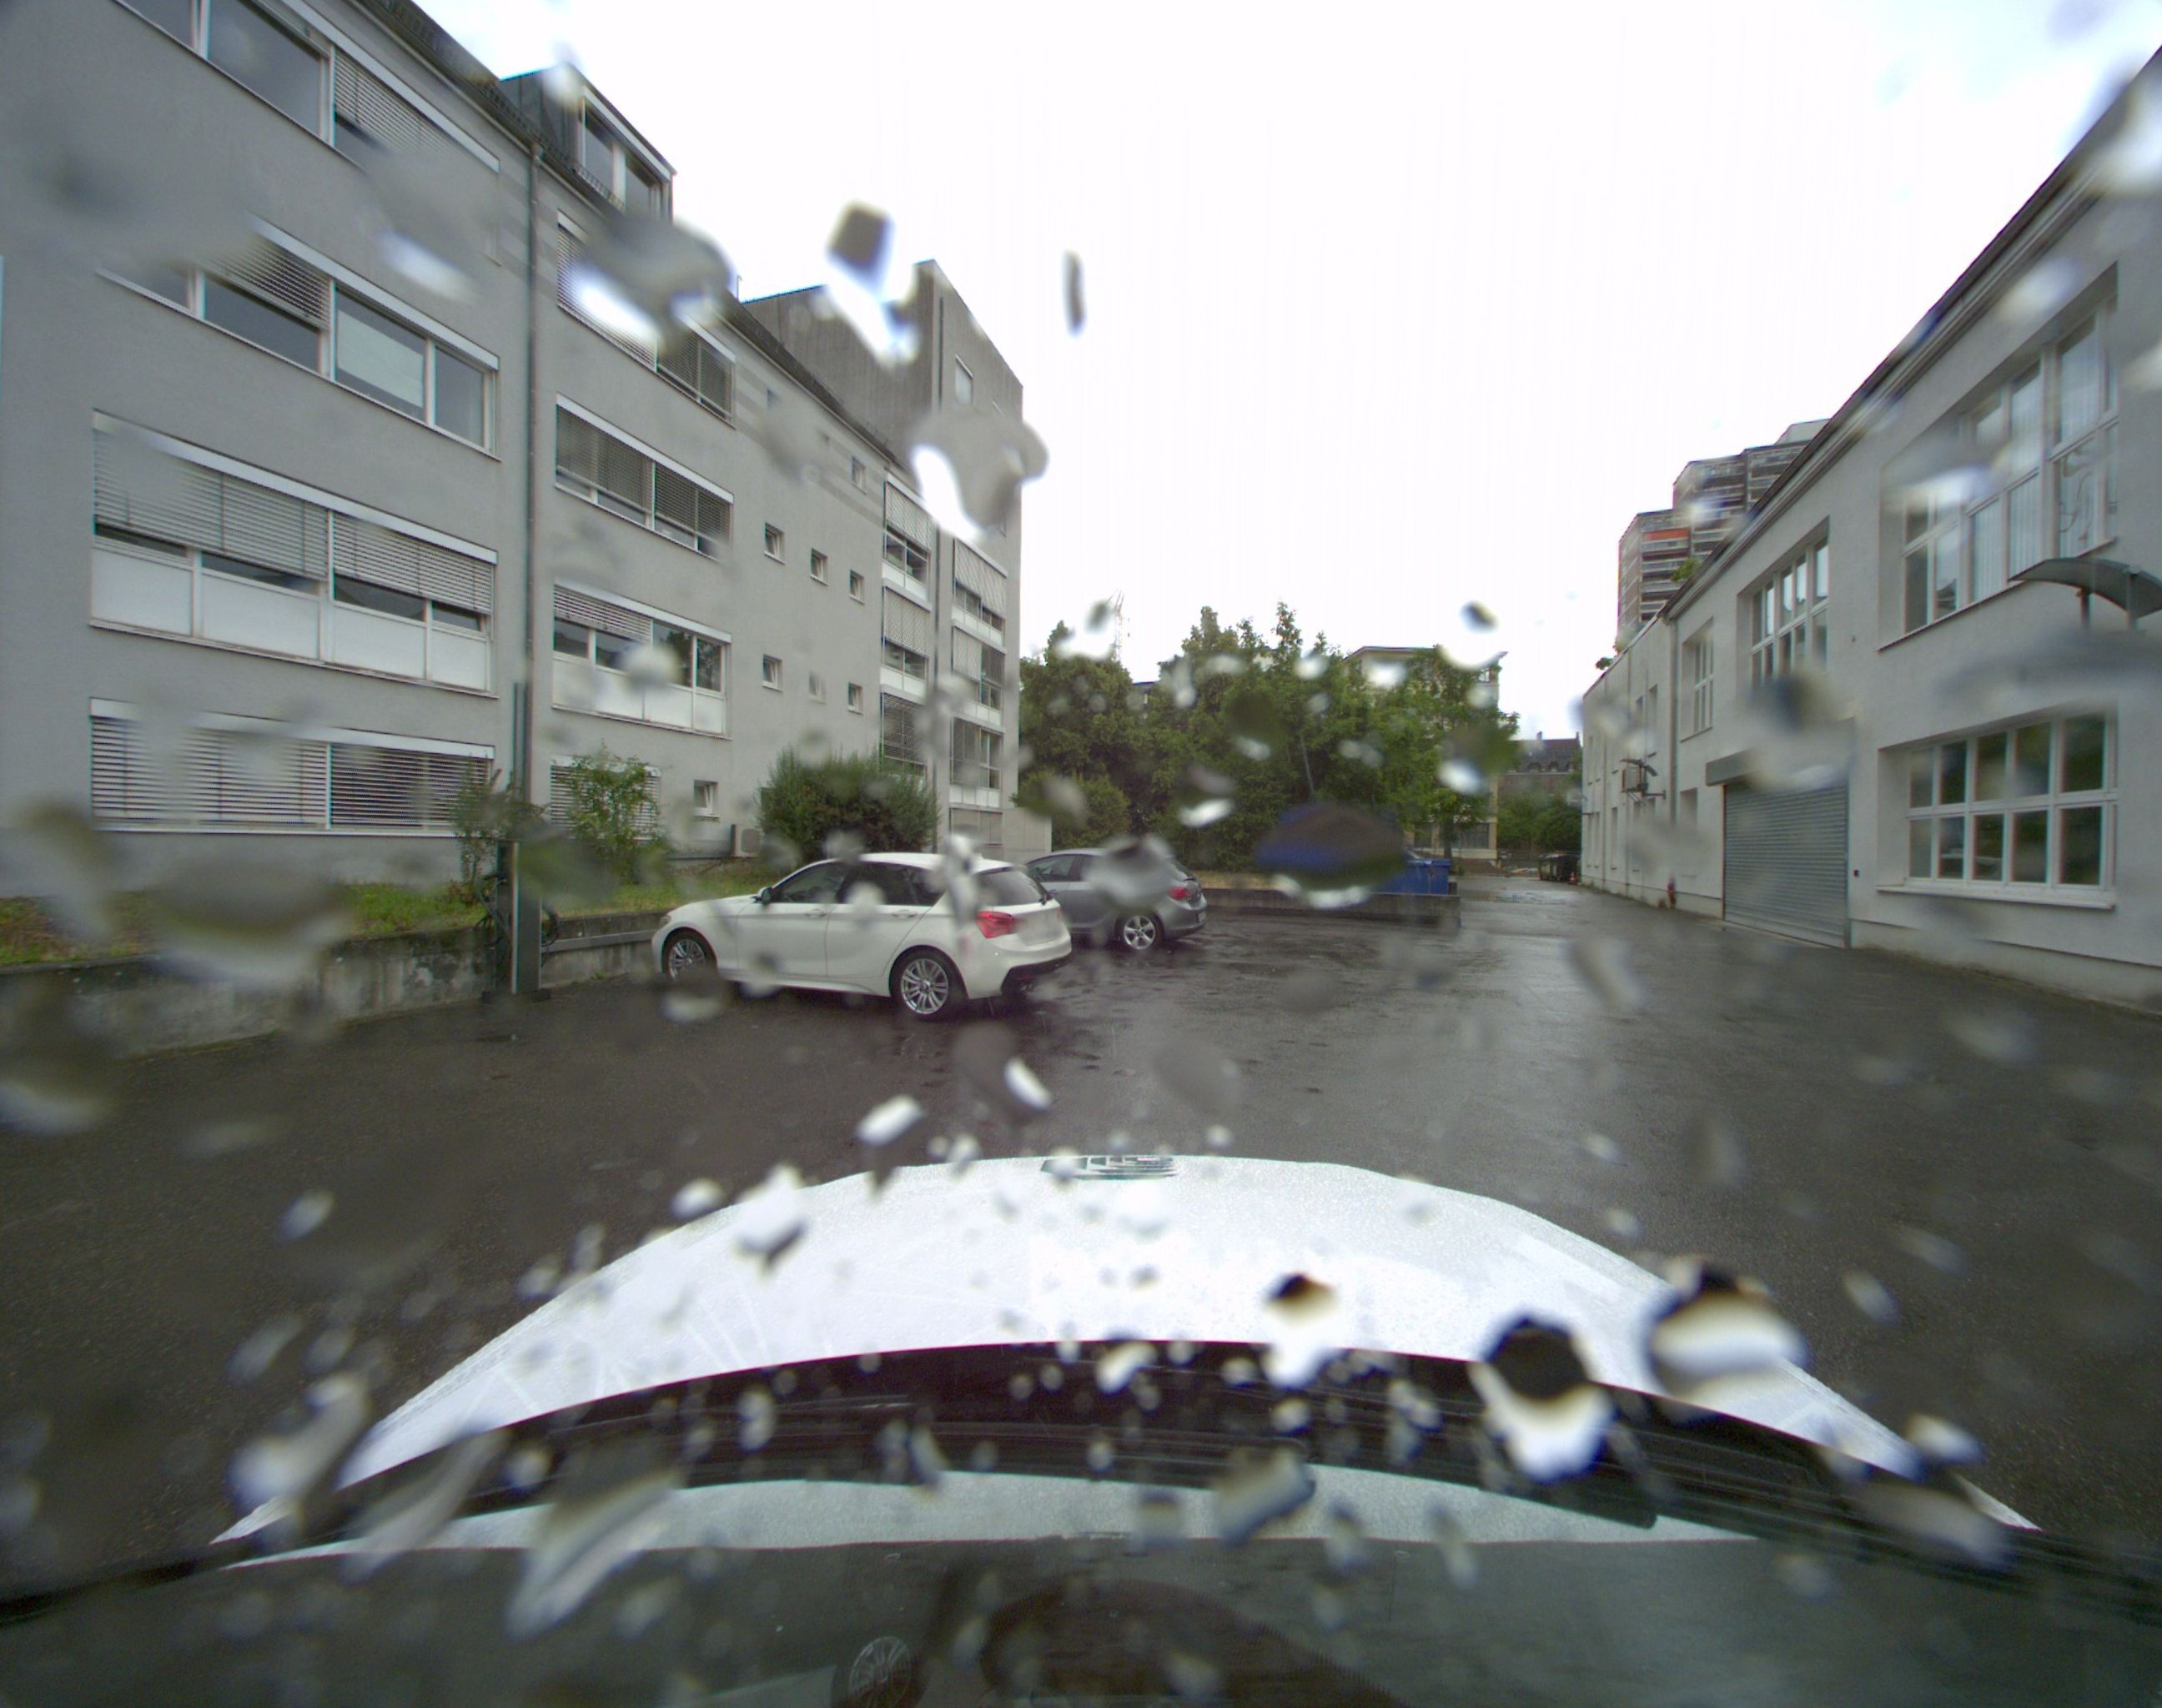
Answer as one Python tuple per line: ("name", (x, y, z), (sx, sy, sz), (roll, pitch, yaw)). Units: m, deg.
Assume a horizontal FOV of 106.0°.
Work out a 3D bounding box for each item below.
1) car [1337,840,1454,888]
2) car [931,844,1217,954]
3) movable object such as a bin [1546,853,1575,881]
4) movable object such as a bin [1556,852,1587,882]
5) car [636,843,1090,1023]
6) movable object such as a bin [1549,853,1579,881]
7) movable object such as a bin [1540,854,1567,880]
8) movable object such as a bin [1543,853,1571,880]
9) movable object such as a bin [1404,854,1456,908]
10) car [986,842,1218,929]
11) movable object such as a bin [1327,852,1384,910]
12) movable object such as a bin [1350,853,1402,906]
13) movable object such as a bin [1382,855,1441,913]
("car", (14.065, 0.419, 36.428), (4.736, 2.013, 2.012), (0, 0, 26))
("car", (-0.083, 0.612, 12.910), (4.131, 1.483, 1.831), (1, 1, 19))
("movable object such as a bin", (26.330, 0.697, 44.712), (1.204, 1.468, 1.242), (1, -2, 23))
("movable object such as a bin", (25.051, 0.668, 41.621), (1.204, 1.437, 1.242), (1, -2, 23))
("car", (-2.152, 0.649, 8.218), (4.105, 1.433, 1.762), (1, 0, 19))
("movable object such as a bin", (25.635, 0.678, 43.226), (1.204, 1.437, 1.301), (1, -2, 23))
("movable object such as a bin", (27.402, 0.764, 47.267), (1.204, 1.437, 1.266), (1, -2, 23))
("movable object such as a bin", (26.848, 0.713, 45.997), (1.204, 1.437, 1.266), (1, -2, 23))
("movable object such as a bin", (9.219, 0.696, 21.523), (1.210, 1.337, 1.012), (1, 1, 25))
("car", (0.432, 0.534, 16.051), (4.131, 1.333, 1.832), (4, 2, 21))
("movable object such as a bin", (6.953, 0.663, 20.613), (1.192, 1.336, 1.123), (3, 3, 25))
("movable object such as a bin", (7.974, 0.664, 21.961), (1.210, 1.337, 1.012), (1, 1, 25))
("movable object such as a bin", (8.154, 0.718, 20.088), (1.191, 1.337, 1.123), (1, 0, 29))
